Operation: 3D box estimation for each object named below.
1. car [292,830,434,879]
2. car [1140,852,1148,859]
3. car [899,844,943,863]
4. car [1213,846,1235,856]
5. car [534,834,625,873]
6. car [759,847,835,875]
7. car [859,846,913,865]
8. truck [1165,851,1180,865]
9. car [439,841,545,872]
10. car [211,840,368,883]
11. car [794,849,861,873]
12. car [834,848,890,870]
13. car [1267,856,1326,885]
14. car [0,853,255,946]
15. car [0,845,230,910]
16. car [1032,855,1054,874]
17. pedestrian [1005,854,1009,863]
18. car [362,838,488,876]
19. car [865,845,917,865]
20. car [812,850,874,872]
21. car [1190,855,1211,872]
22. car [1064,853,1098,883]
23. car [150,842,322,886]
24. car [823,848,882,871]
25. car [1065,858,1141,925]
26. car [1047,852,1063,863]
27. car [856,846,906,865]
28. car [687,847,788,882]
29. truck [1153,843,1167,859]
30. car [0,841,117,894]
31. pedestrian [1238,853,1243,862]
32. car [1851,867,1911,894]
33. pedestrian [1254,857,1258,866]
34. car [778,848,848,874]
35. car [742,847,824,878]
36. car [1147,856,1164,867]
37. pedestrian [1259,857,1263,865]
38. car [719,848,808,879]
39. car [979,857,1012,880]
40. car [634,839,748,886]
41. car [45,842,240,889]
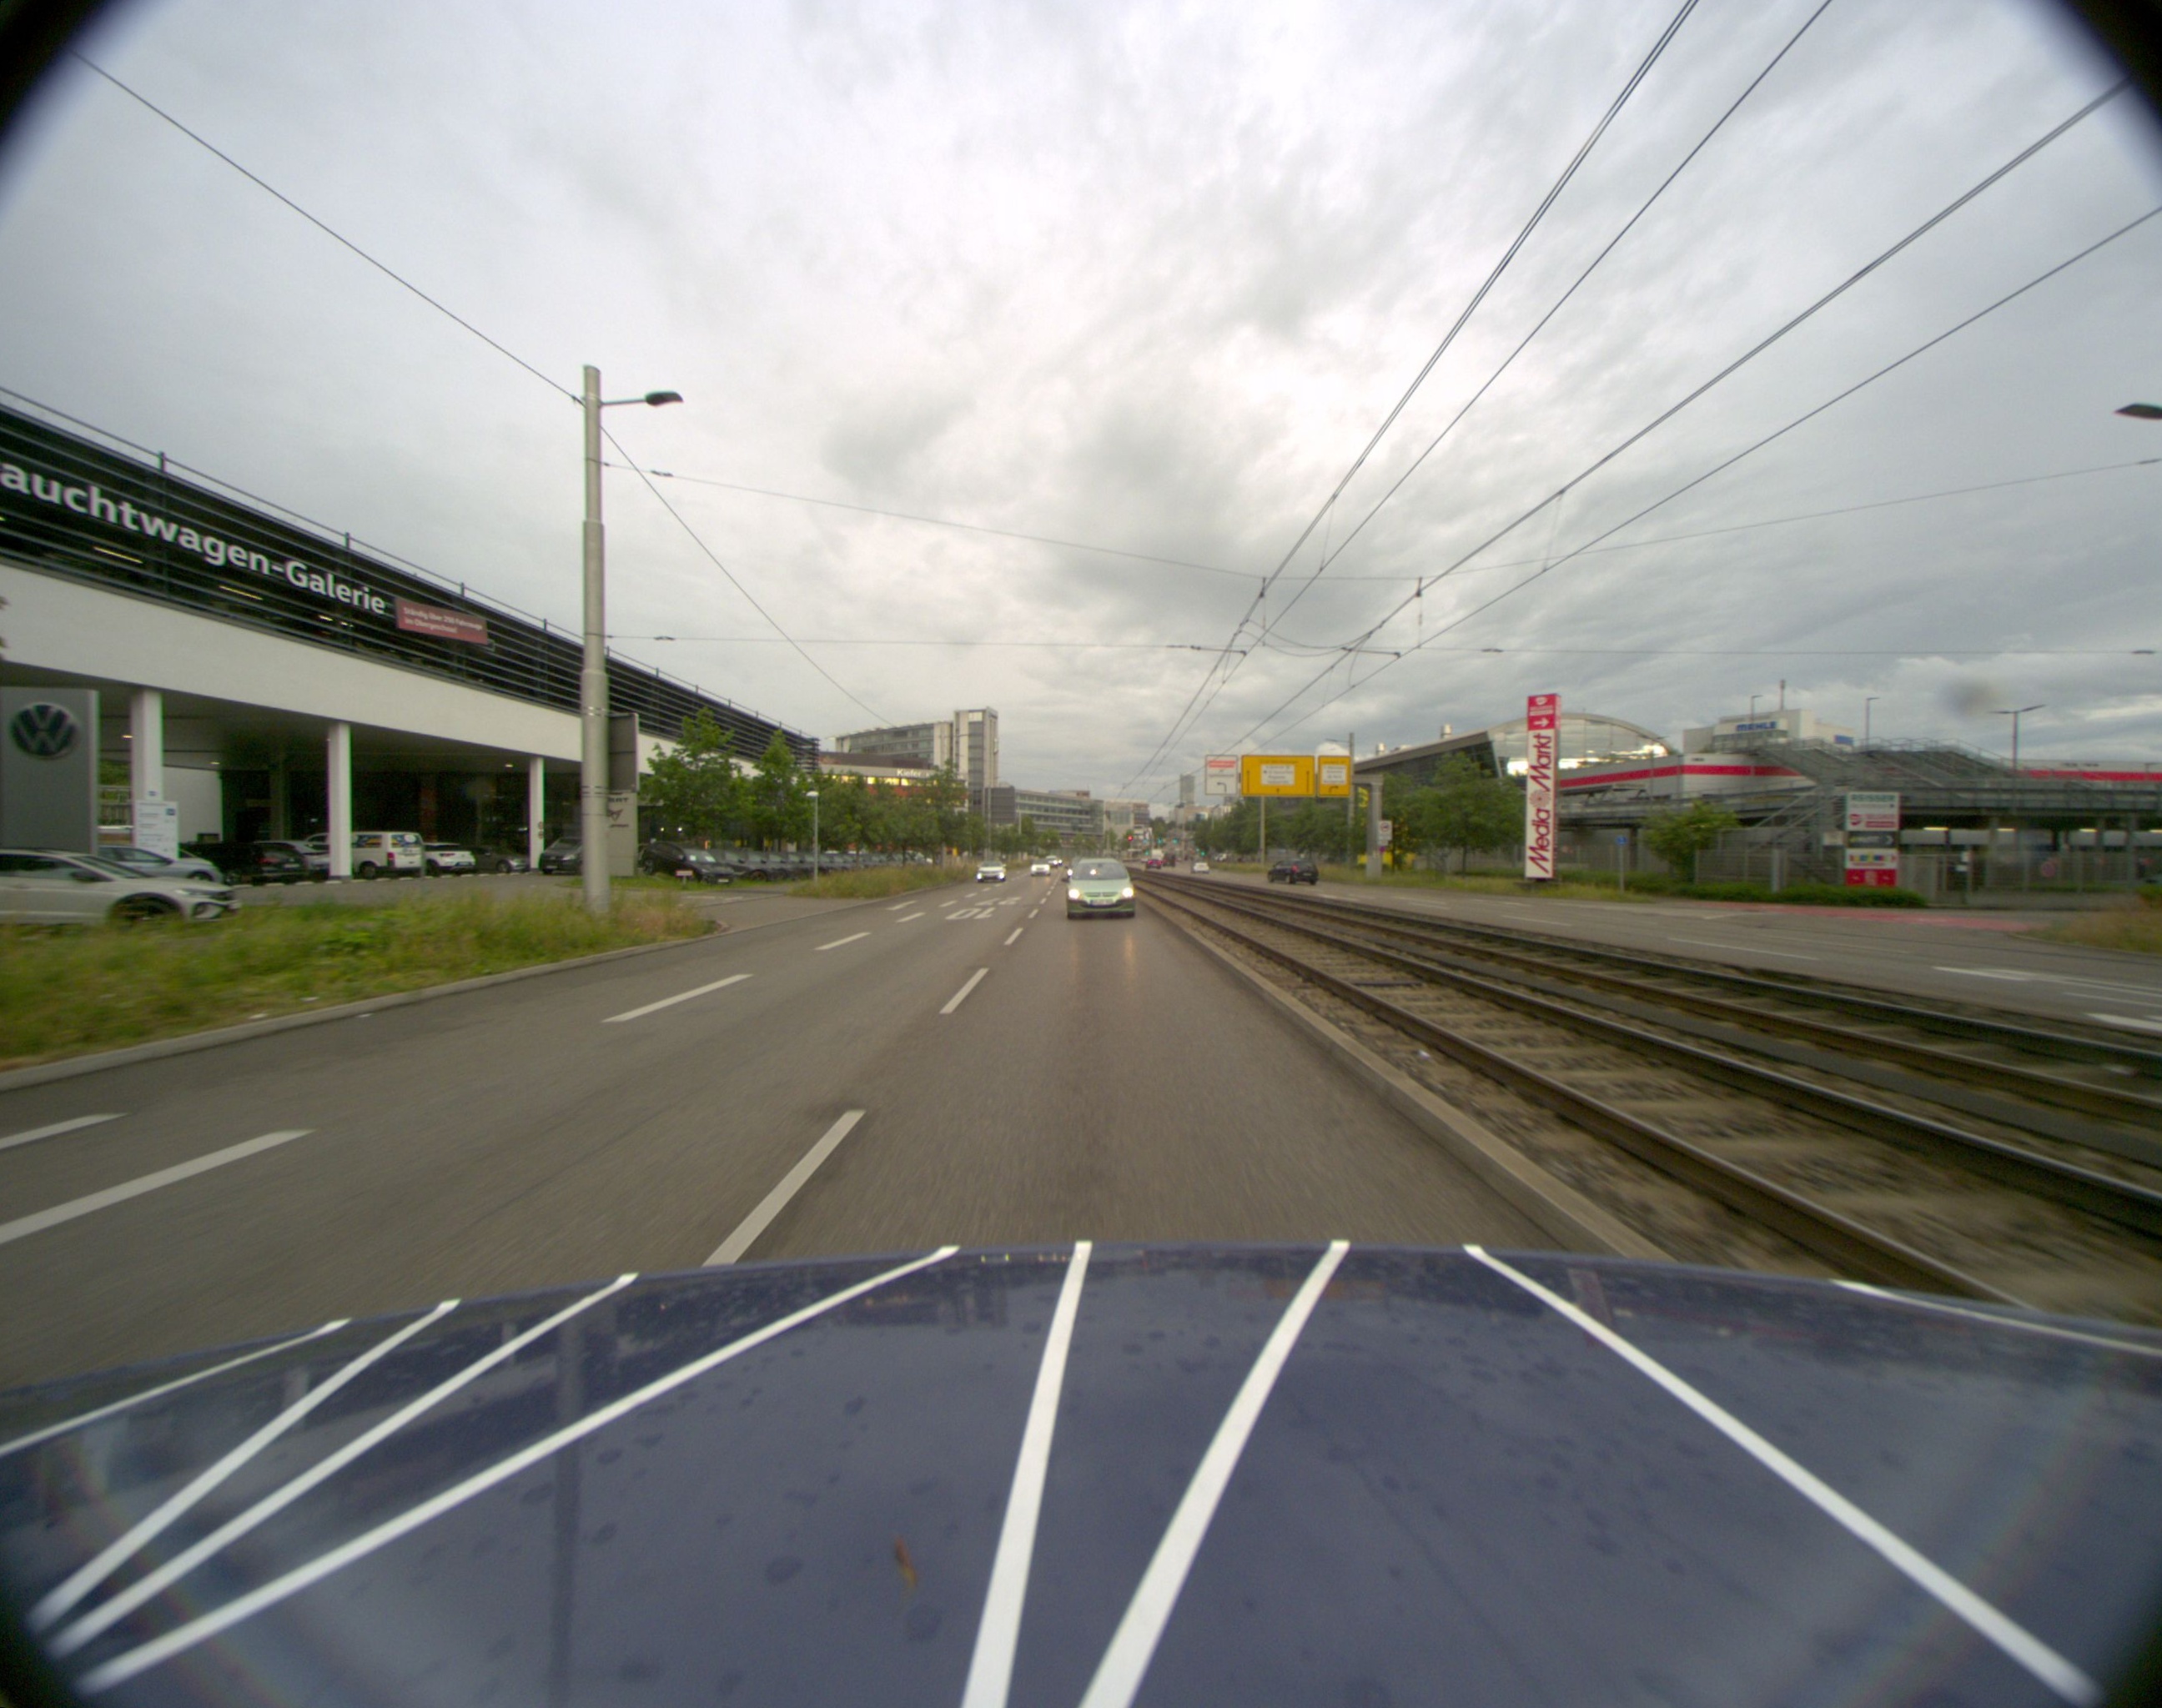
[{"bbox_3d":[-29.997,0.020,31.834,4.037,1.964,1.944,1,1,-1],"label":"car"},{"bbox_3d":[15.531,0.401,187.240,1.810,1.490,4.441,3,0,1],"label":"car"},{"bbox_3d":[-17.543,-0.046,83.159,4.504,1.980,1.818,2,0,-18],"label":"car"},{"bbox_3d":[36.636,-0.768,194.301,5.068,2.318,1.997,1,0,-17],"label":"car"},{"bbox_3d":[-25.917,-0.017,39.488,1.892,1.927,4.429,0,0,-2],"label":"car"},{"bbox_3d":[-17.079,0.442,45.711,4.158,1.560,1.822,2,0,-25],"label":"car"},{"bbox_3d":[-17.203,0.128,67.136,4.502,1.560,1.819,2,0,-12],"label":"car"},{"bbox_3d":[16.494,0.702,137.189,2.243,2.550,7.016,0,0,4],"label":"truck"},{"bbox_3d":[-30.241,0.129,39.124,4.043,1.504,1.723,1,1,-3],"label":"car"},{"bbox_3d":[-30.241,0.273,29.125,3.997,1.528,1.904,1,1,-1],"label":"car"},{"bbox_3d":[-17.129,0.460,51.349,4.157,1.519,1.828,2,0,-20],"label":"car"},{"bbox_3d":[-17.125,0.370,59.479,4.061,1.567,1.729,2,0,-20],"label":"car"},{"bbox_3d":[13.597,1.014,48.171,2.000,1.725,4.209,2,-1,-8],"label":"car"},{"bbox_3d":[-17.817,0.750,13.382,4.108,1.457,1.743,1,1,-33],"label":"car"},{"bbox_3d":[-26.189,0.515,20.201,1.899,1.459,4.695,2,1,-1],"label":"car"},{"bbox_3d":[-3.447,0.922,69.198,1.818,1.584,3.836,0,0,0],"label":"car"},{"bbox_3d":[-16.407,0.965,168.688,0.683,1.889,0.677,-3,1,-22],"label":"pedestrian"},{"bbox_3d":[-29.603,0.119,34.374,3.997,1.623,1.904,1,1,-1],"label":"car"},{"bbox_3d":[-17.379,0.089,69.709,4.502,1.653,1.819,2,0,-12],"label":"car"},{"bbox_3d":[-17.016,0.504,54.262,4.157,1.450,1.790,2,0,-20],"label":"car"},{"bbox_3d":[12.376,1.007,78.733,1.602,1.528,2.949,3,3,0],"label":"car"},{"bbox_3d":[0.040,0.780,43.549,1.762,1.535,3.714,-2,0,1],"label":"car"},{"bbox_3d":[-29.539,0.335,26.657,3.997,1.437,1.764,1,1,-1],"label":"car"},{"bbox_3d":[-17.135,0.413,56.944,4.157,1.525,1.790,2,0,-20],"label":"car"},{"bbox_3d":[0.509,0.904,20.270,1.762,1.489,4.137,-2,0,0],"label":"car"},{"bbox_3d":[-3.735,0.476,110.182,1.889,1.584,3.983,0,0,5],"label":"car"},{"bbox_3d":[-16.999,0.158,64.766,4.058,1.493,1.685,2,0,-12],"label":"car"},{"bbox_3d":[-16.881,0.526,37.371,4.343,1.603,1.865,2,0,-29],"label":"car"},{"bbox_3d":[18.013,-0.777,173.730,2.733,3.339,7.150,2,3,2],"label":"truck"},{"bbox_3d":[-30.300,0.359,21.384,3.997,1.416,1.764,1,1,-1],"label":"car"},{"bbox_3d":[28.507,0.699,135.857,0.684,1.554,0.627,-2,1,0],"label":"pedestrian"},{"bbox_3d":[45.684,1.499,43.456,1.659,1.275,4.116,-2,1,36],"label":"car"},{"bbox_3d":[29.714,1.236,128.974,0.512,1.447,0.652,-2,1,-11],"label":"pedestrian"},{"bbox_3d":[-17.125,0.450,48.598,4.157,1.560,1.906,2,0,-21],"label":"car"},{"bbox_3d":[-16.821,0.481,42.858,4.158,1.595,1.822,2,0,-25],"label":"car"},{"bbox_3d":[9.916,0.974,101.405,1.807,1.420,4.236,1,0,0],"label":"car"},{"bbox_3d":[30.496,1.207,128.625,0.452,1.447,0.652,-2,1,-11],"label":"pedestrian"},{"bbox_3d":[-16.780,0.506,40.169,4.159,1.553,1.865,2,0,-27],"label":"car"},{"bbox_3d":[-5.945,0.992,53.208,1.878,1.485,3.836,0,0,1],"label":"car"},{"bbox_3d":[-17.206,0.362,33.486,4.709,1.865,1.828,2,0,23],"label":"car"},{"bbox_3d":[-30.043,0.361,24.429,3.997,1.416,1.764,1,1,-1],"label":"car"}]
